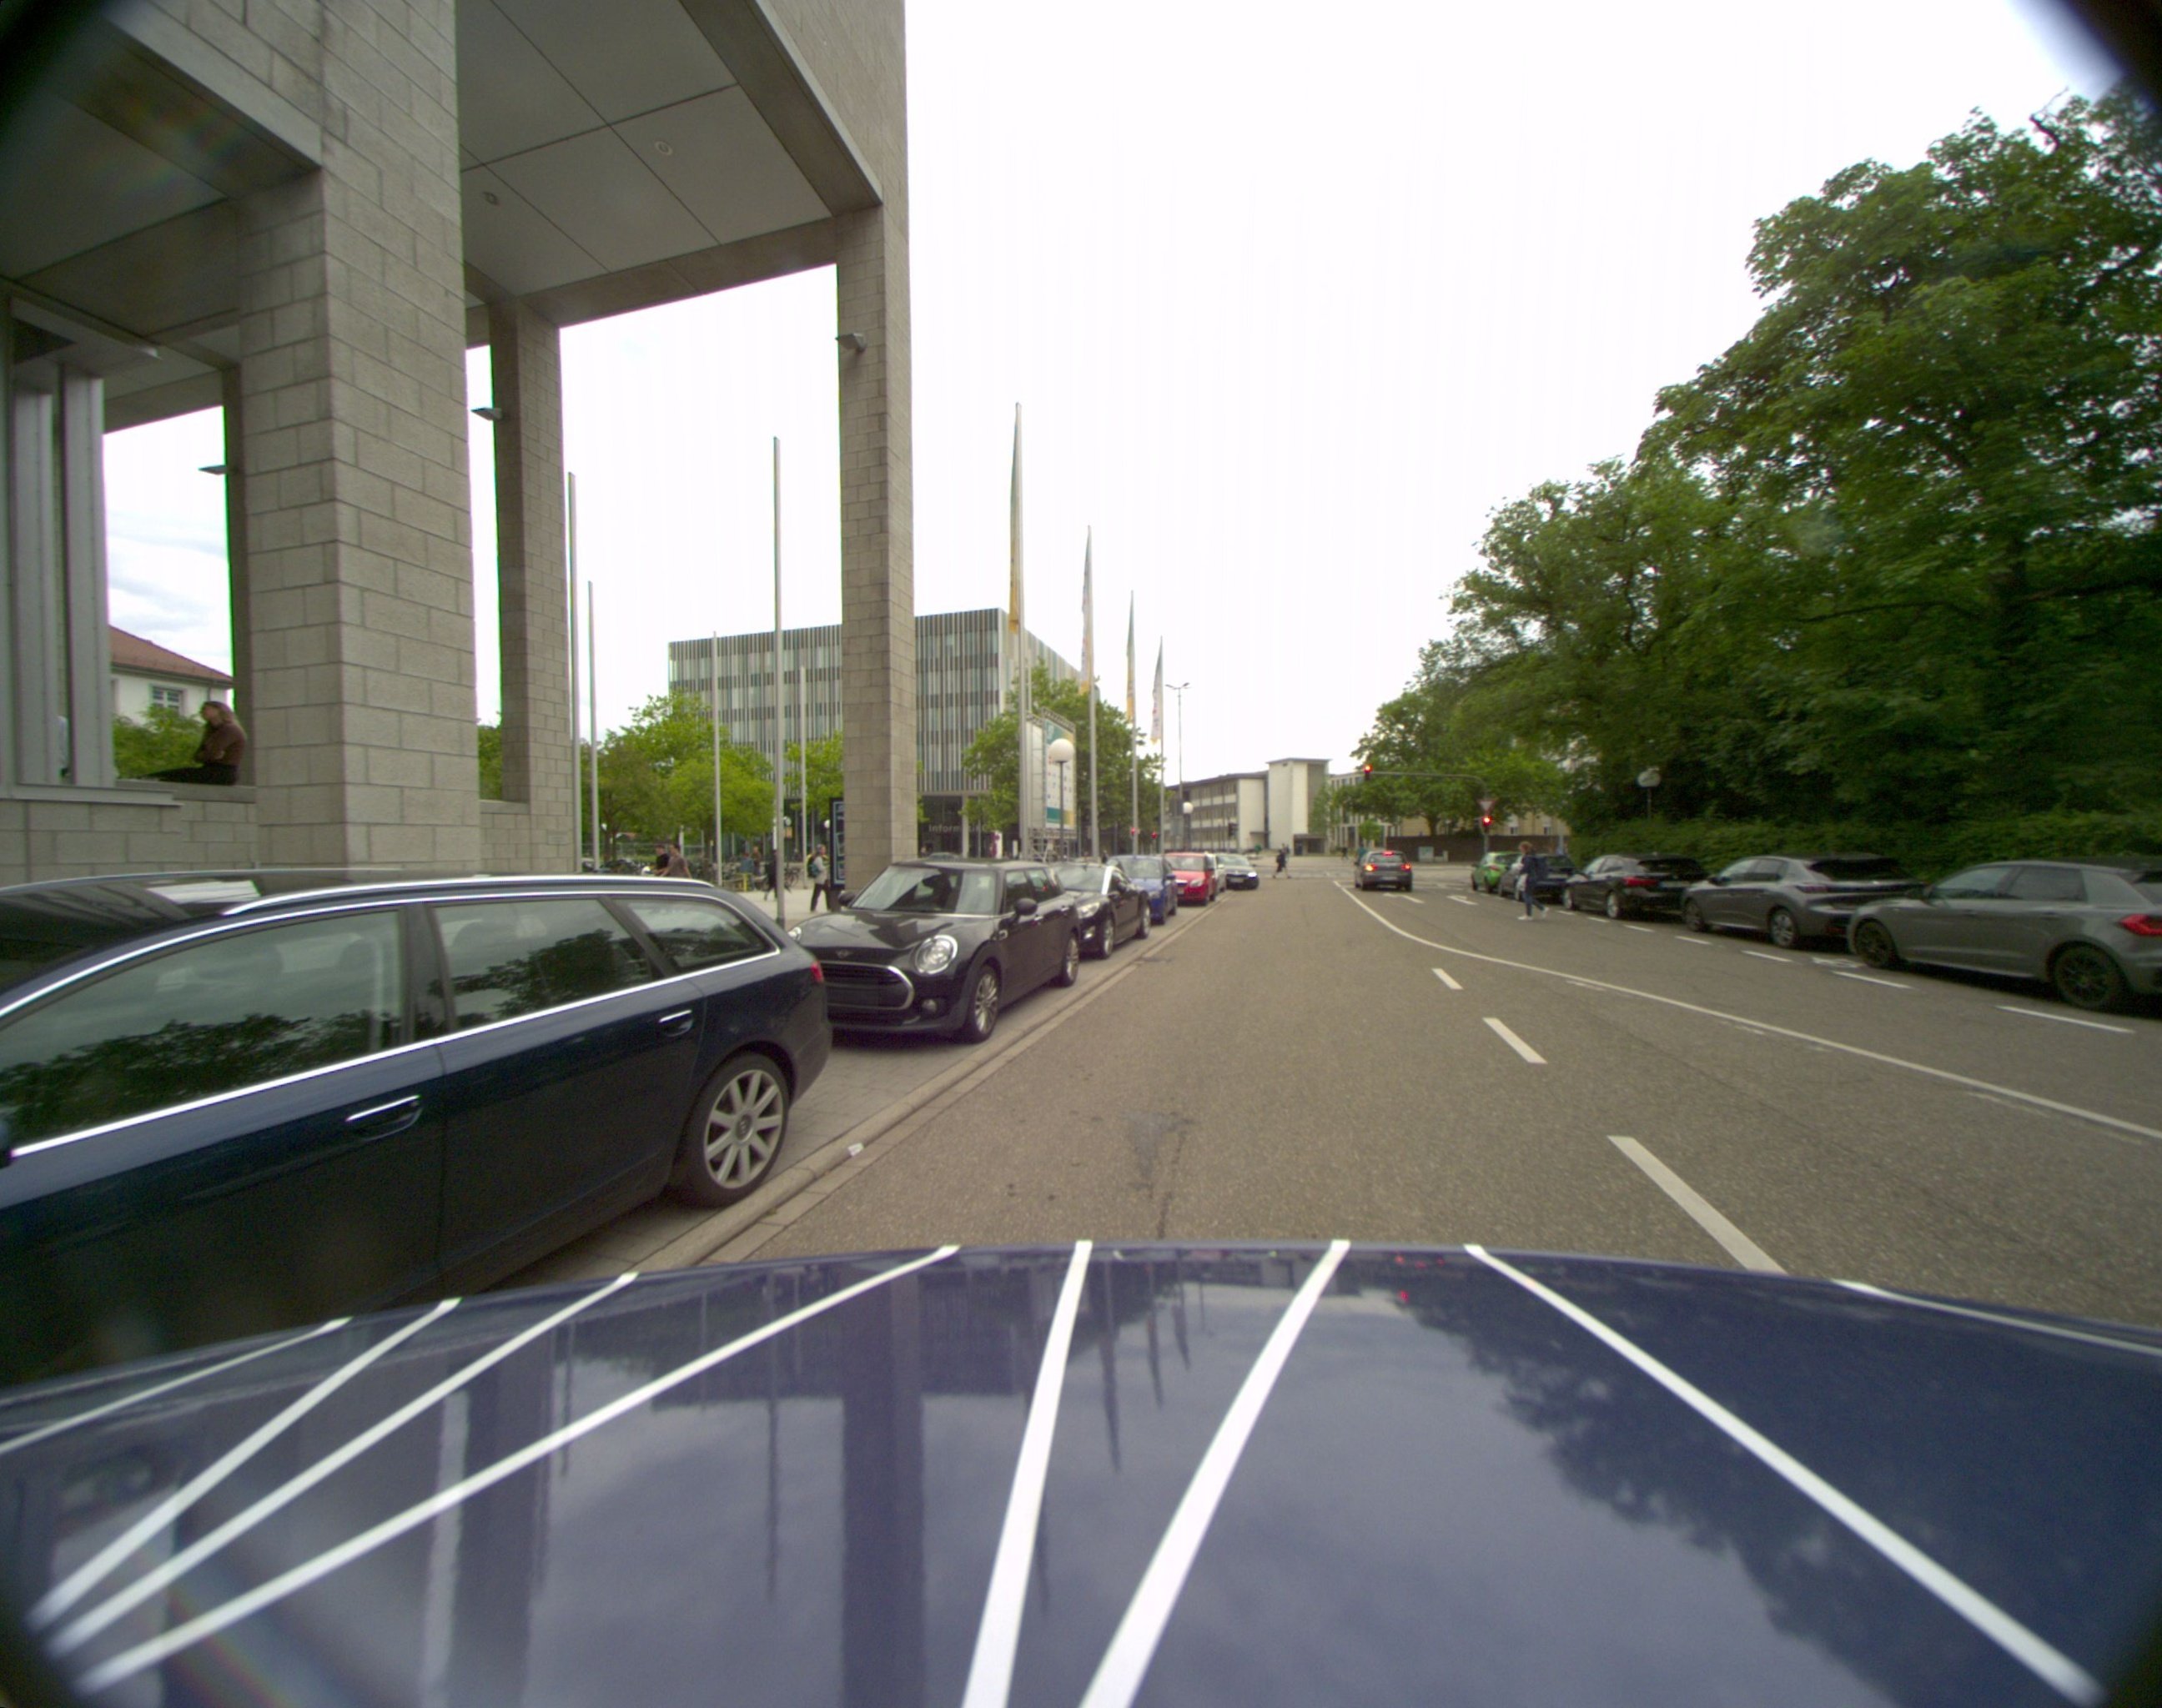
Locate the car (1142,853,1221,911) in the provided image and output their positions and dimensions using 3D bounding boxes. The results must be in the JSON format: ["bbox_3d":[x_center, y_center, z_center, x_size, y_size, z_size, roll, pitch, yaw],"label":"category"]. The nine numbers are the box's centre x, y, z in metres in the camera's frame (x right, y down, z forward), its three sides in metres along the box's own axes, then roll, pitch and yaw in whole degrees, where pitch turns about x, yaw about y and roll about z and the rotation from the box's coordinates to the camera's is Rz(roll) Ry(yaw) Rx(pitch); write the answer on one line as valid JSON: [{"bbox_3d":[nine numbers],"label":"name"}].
[{"bbox_3d":[3.095,0.749,22.708,1.714,1.465,4.278,2,1,15],"label":"car"}]

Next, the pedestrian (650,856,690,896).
[{"bbox_3d":[-15.075,0.806,27.899,0.851,1.412,0.969,0,1,4],"label":"pedestrian"}]

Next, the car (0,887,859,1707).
[{"bbox_3d":[-2.817,0.960,1.939,1.996,1.444,4.927,0,1,16],"label":"car"}]

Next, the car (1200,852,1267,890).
[{"bbox_3d":[6.433,0.670,32.470,1.865,1.393,4.477,2,1,-1],"label":"car"}]

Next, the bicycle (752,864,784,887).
[{"bbox_3d":[-15.327,1.035,37.231,0.456,1.043,1.937,0,0,11],"label":"bicycle"}]

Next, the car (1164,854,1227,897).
[{"bbox_3d":[4.337,0.759,28.309,1.863,1.445,3.863,0,1,15],"label":"car"}]

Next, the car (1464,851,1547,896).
[{"bbox_3d":[15.473,0.642,27.929,1.800,1.461,4.253,0,1,17],"label":"car"}]

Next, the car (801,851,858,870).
[{"bbox_3d":[-21.606,0.571,65.427,4.186,1.608,2.002,-1,1,14],"label":"car"}]

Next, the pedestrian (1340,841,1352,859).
[{"bbox_3d":[24.719,-0.381,70.901,0.807,1.655,0.793,-1,0,40],"label":"pedestrian"}]

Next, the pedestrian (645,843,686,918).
[{"bbox_3d":[-10.346,0.643,18.928,0.591,1.830,0.621,0,1,16],"label":"pedestrian"}]

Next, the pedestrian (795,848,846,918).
[{"bbox_3d":[-6.264,0.693,18.318,0.735,1.631,0.933,-1,-1,17],"label":"pedestrian"}]

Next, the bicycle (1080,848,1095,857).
[{"bbox_3d":[0.776,-0.183,88.126,0.485,0.931,2.004,-2,3,-43],"label":"bicycle"}]

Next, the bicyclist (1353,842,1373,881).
[{"bbox_3d":[12.954,0.350,34.901,0.658,1.769,0.984,0,1,8],"label":"bicyclist"}]

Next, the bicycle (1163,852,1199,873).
[{"bbox_3d":[5.443,0.438,41.244,1.804,1.087,0.874,-1,0,-34],"label":"bicycle"}]

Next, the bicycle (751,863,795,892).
[{"bbox_3d":[-12.910,0.971,31.915,0.456,1.163,2.417,-1,-2,11],"label":"bicycle"}]

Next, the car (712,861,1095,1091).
[{"bbox_3d":[-1.277,0.855,7.574,1.820,1.435,4.525,1,1,14],"label":"car"}]

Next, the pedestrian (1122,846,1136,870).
[{"bbox_3d":[3.198,0.263,50.410,0.756,1.617,0.794,0,1,17],"label":"pedestrian"}]

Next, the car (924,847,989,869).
[{"bbox_3d":[-10.240,0.321,62.519,4.831,1.653,2.002,-1,1,13],"label":"car"}]

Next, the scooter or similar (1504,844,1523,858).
[{"bbox_3d":[37.884,-0.253,66.542,1.409,1.224,0.496,1,4,34],"label":"scooter or similar"}]

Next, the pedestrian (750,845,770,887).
[{"bbox_3d":[-14.145,0.540,33.504,0.674,1.823,0.510,-2,2,-34],"label":"pedestrian"}]

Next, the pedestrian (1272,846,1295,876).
[{"bbox_3d":[11.116,0.381,41.729,1.043,1.610,0.658,-1,2,1],"label":"pedestrian"}]

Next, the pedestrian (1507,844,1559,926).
[{"bbox_3d":[9.501,0.628,15.996,0.739,1.652,0.969,1,0,19],"label":"pedestrian"}]

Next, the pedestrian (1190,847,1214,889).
[{"bbox_3d":[5.219,0.592,32.766,0.791,1.777,0.822,0,2,27],"label":"pedestrian"}]

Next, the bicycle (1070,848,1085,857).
[{"bbox_3d":[-0.393,-0.183,87.450,0.485,0.931,2.004,-2,3,-43],"label":"bicycle"}]

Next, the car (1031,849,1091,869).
[{"bbox_3d":[-1.539,0.406,59.548,4.284,1.481,2.002,-1,1,15],"label":"car"}]

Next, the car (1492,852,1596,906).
[{"bbox_3d":[13.891,0.688,23.043,1.799,1.400,4.342,0,1,19],"label":"car"}]

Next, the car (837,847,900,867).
[{"bbox_3d":[-20.138,0.330,72.008,5.364,1.687,2.050,-2,-2,14],"label":"car"}]

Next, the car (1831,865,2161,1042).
[{"bbox_3d":[10.374,0.856,7.975,1.766,1.403,4.013,-1,0,14],"label":"car"}]

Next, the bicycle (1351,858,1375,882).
[{"bbox_3d":[12.960,0.713,34.916,0.658,1.032,1.858,0,1,8],"label":"bicycle"}]

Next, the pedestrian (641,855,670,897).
[{"bbox_3d":[-15.042,0.765,26.874,0.674,1.405,0.768,-1,2,-16],"label":"pedestrian"}]

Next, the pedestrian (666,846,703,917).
[{"bbox_3d":[-9.765,0.673,18.717,0.649,1.702,0.780,2,0,-37],"label":"pedestrian"}]

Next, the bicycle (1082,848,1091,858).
[{"bbox_3d":[0.577,-0.103,80.091,0.484,1.039,1.781,-1,2,-13],"label":"bicycle"}]

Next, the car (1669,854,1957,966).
[{"bbox_3d":[11.594,0.761,12.445,1.764,1.463,3.828,0,1,15],"label":"car"}]

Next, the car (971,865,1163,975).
[{"bbox_3d":[0.011,0.895,12.299,1.850,1.433,4.425,-1,-1,17],"label":"car"}]

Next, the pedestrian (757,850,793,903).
[{"bbox_3d":[-9.820,0.715,24.386,0.756,1.660,0.706,0,1,17],"label":"pedestrian"}]

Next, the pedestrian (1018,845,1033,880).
[{"bbox_3d":[-2.759,0.401,37.986,0.673,1.706,0.678,-1,2,-8],"label":"pedestrian"}]

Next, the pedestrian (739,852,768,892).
[{"bbox_3d":[-13.865,0.750,32.174,0.852,1.694,0.968,0,1,-5],"label":"pedestrian"}]

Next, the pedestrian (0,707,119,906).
[{"bbox_3d":[-9.108,-0.383,6.632,0.629,1.648,0.809,-2,-2,32],"label":"pedestrian"}]

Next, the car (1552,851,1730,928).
[{"bbox_3d":[12.690,0.706,17.600,1.800,1.552,4.535,0,0,15],"label":"car"}]

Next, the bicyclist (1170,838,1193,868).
[{"bbox_3d":[5.446,-0.054,41.240,0.869,1.631,0.874,-1,1,-34],"label":"bicyclist"}]

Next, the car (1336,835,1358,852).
[{"bbox_3d":[36.690,-1.371,104.570,1.996,1.570,4.415,-9,-10,27],"label":"car"}]

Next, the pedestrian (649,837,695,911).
[{"bbox_3d":[-9.816,0.502,18.254,0.907,1.701,0.696,-5,-5,41],"label":"pedestrian"}]

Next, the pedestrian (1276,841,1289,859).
[{"bbox_3d":[19.387,-0.401,73.032,0.847,1.778,0.892,-1,1,-27],"label":"pedestrian"}]

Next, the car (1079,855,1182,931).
[{"bbox_3d":[1.259,0.786,17.333,1.697,1.403,4.380,0,1,12],"label":"car"}]

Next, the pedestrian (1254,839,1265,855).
[{"bbox_3d":[19.979,-0.770,85.003,0.951,1.705,0.905,-1,2,-11],"label":"pedestrian"}]

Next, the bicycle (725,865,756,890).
[{"bbox_3d":[-15.242,1.037,34.030,0.457,1.043,1.936,0,0,2],"label":"bicycle"}]

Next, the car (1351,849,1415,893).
[{"bbox_3d":[11.279,0.578,28.588,1.785,1.488,4.172,0,1,15],"label":"car"}]

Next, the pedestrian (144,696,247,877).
[{"bbox_3d":[-8.677,-0.611,7.457,0.805,1.648,0.633,-2,-2,40],"label":"pedestrian"}]
